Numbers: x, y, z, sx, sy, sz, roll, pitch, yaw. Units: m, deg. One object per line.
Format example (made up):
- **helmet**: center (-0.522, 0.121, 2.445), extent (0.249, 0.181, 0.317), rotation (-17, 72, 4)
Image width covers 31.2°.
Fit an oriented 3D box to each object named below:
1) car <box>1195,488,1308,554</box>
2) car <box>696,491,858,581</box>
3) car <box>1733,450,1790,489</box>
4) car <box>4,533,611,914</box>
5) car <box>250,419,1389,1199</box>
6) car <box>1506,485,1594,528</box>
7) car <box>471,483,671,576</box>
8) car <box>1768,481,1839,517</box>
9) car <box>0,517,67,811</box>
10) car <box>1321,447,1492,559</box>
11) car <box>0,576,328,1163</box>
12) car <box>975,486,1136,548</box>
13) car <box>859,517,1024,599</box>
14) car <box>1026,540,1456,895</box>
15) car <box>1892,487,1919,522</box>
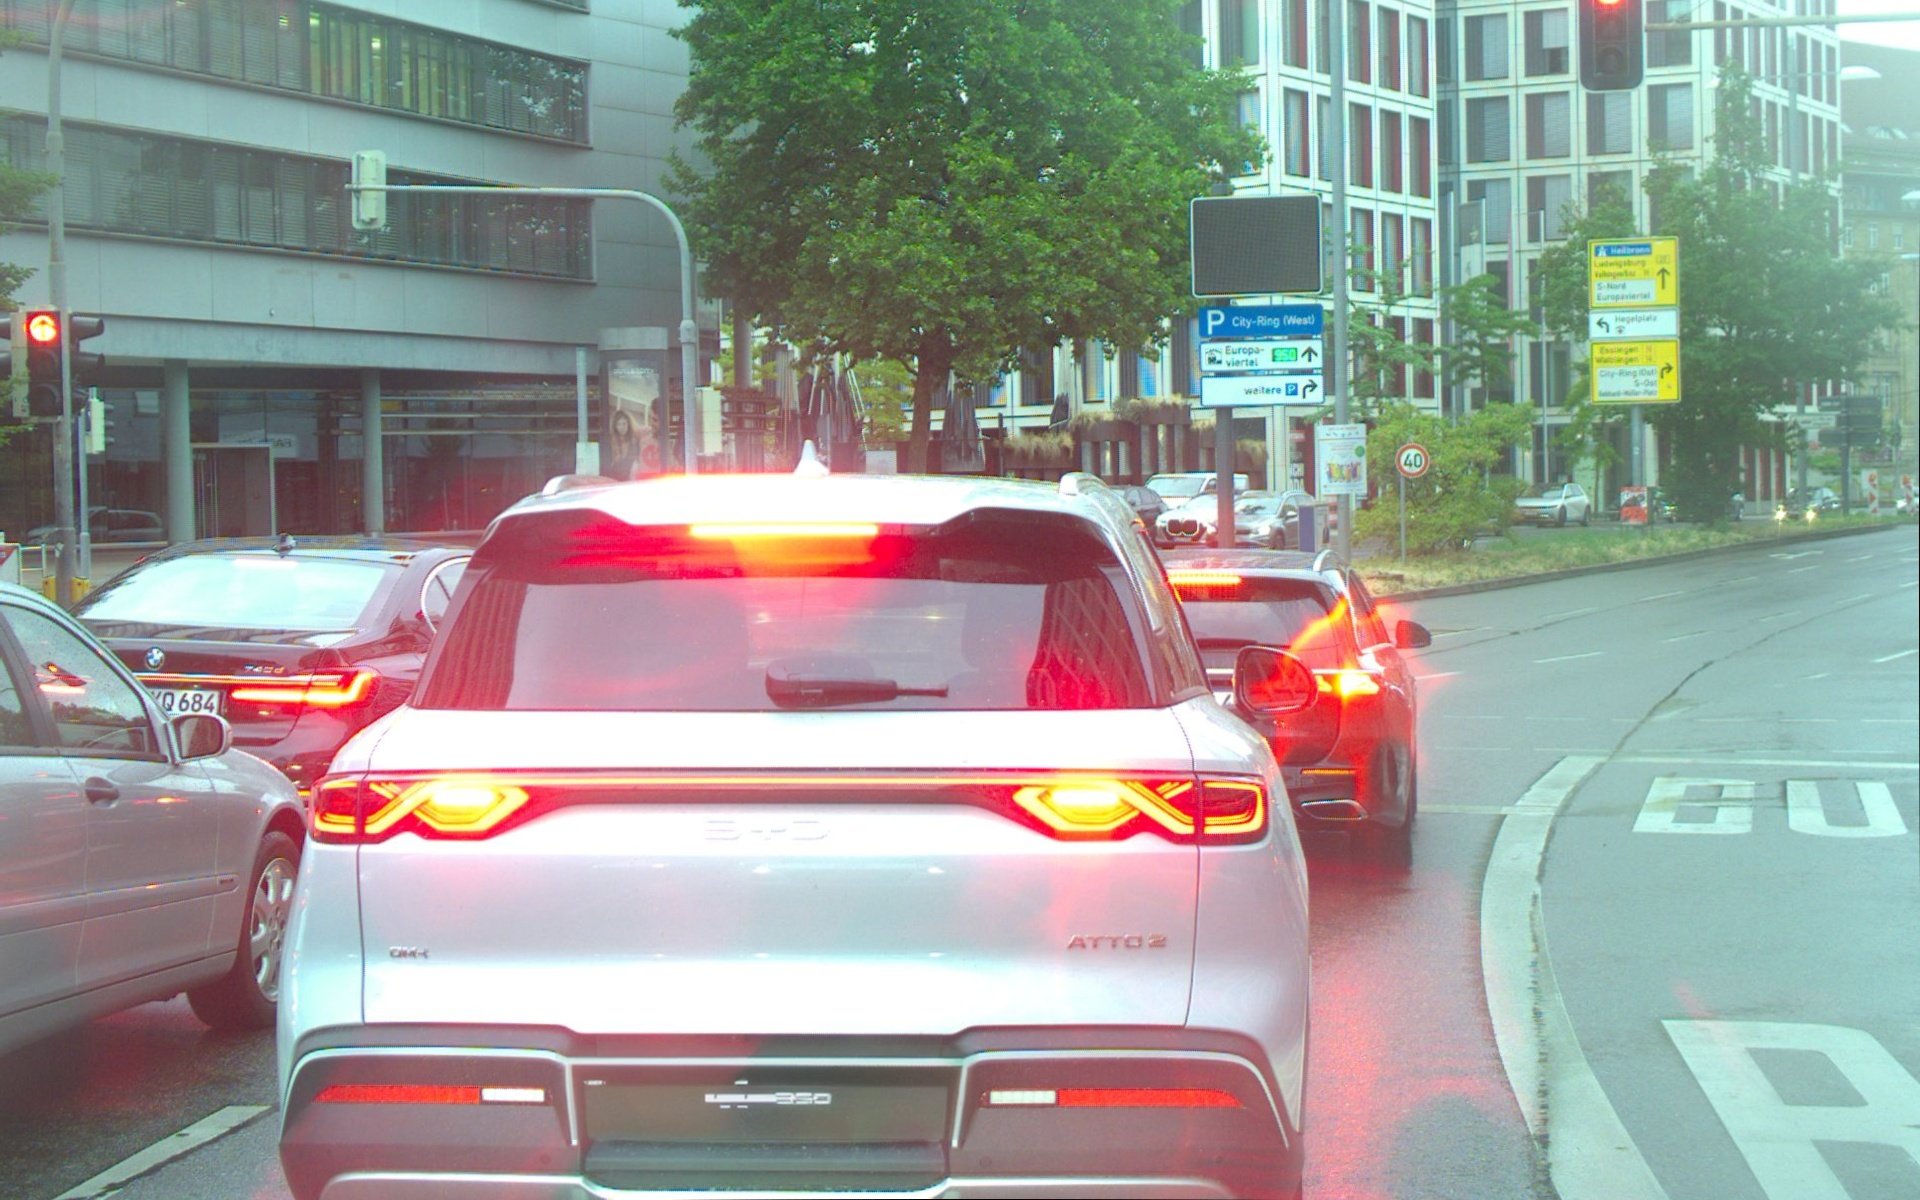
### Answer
- **car**: center (7.142, -1.928, 83.961), extent (1.645, 1.575, 4.081), rotation (1, 1, 21)
- **car**: center (-3.230, -1.150, 61.452), extent (1.645, 1.530, 4.149), rotation (1, 1, 16)
- **car**: center (38.139, -6.185, 163.492), extent (1.609, 1.735, 3.439), rotation (1, 1, 32)
- **car**: center (-2.788, 0.465, 15.565), extent (1.571, 1.481, 3.999), rotation (1, 1, 6)
- **car**: center (-0.175, 0.542, 7.396), extent (1.776, 1.673, 4.000), rotation (1, 1, 2)
- **car**: center (21.051, -3.350, 122.595), extent (1.996, 1.483, 3.994), rotation (0, 2, 27)
- **car**: center (-6.940, -1.273, 61.783), extent (1.995, 1.605, 3.996), rotation (1, 1, 20)
- **car**: center (35.334, -4.229, 143.980), extent (1.996, 1.483, 3.994), rotation (0, 2, 27)
- **car**: center (-5.874, 0.323, 16.276), extent (1.707, 1.481, 3.998), rotation (1, 1, 9)
- **car**: center (8.511, -1.811, 65.147), extent (1.996, 2.007, 4.843), rotation (1, 1, 23)
- **car**: center (-3.031, 0.644, 8.854), extent (1.571, 1.402, 4.108), rotation (1, 1, 7)
- **car**: center (2.446, -2.105, 86.386), extent (1.816, 1.505, 5.187), rotation (1, 2, 30)
- **car**: center (-0.282, -0.728, 60.236), extent (1.692, 1.380, 3.865), rotation (1, 1, 19)
- **car**: center (1.475, 0.478, 16.639), extent (1.694, 1.481, 3.998), rotation (1, 1, 10)
- **car**: center (42.168, -4.186, 150.176), extent (1.996, 1.483, 3.994), rotation (0, 2, 27)
